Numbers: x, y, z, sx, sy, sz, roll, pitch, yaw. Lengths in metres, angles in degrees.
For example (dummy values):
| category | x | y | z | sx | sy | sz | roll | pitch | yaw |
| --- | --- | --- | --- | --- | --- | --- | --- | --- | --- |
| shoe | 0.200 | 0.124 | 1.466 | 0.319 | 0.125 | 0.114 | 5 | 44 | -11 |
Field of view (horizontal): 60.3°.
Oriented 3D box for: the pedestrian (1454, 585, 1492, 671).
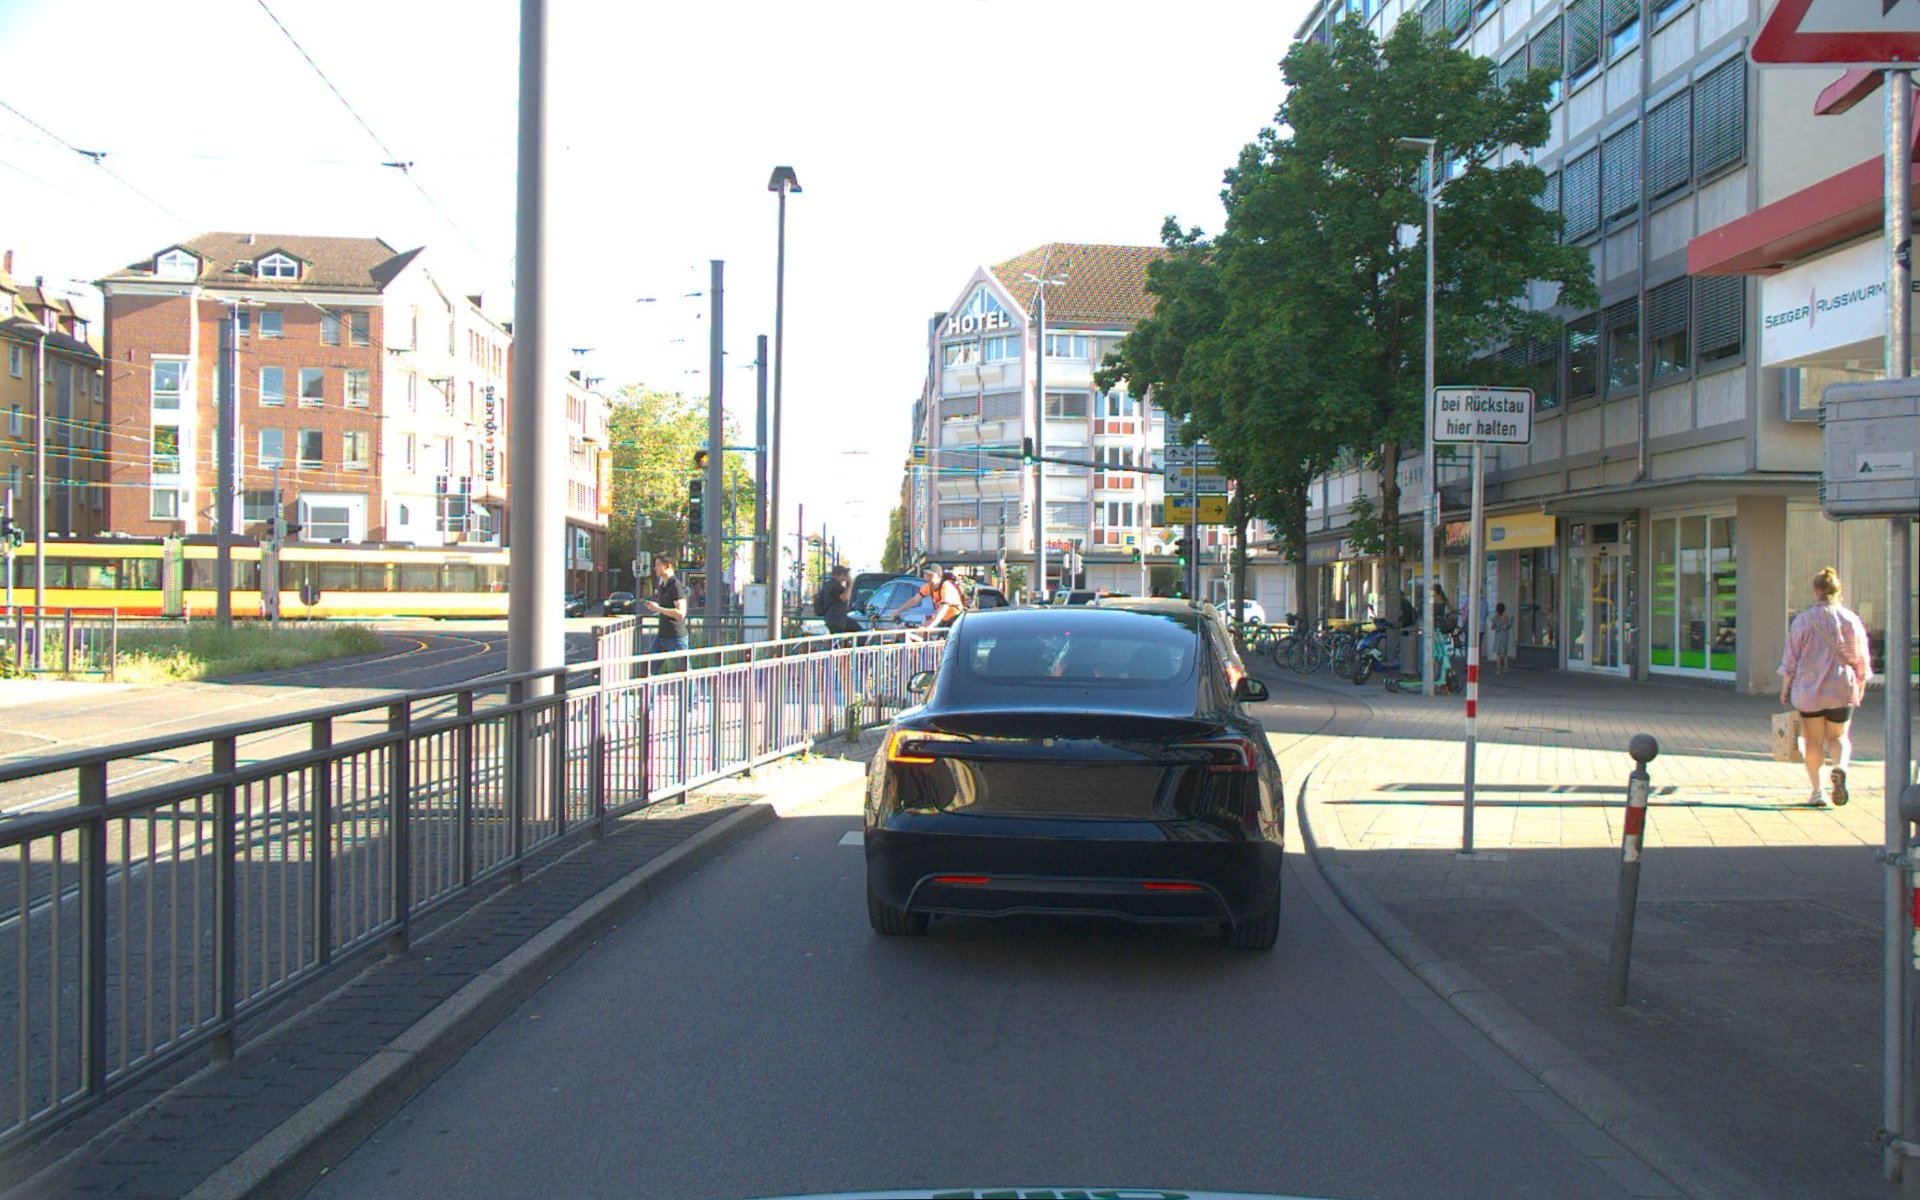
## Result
| category | x | y | z | sx | sy | sz | roll | pitch | yaw |
| --- | --- | --- | --- | --- | --- | --- | --- | --- | --- |
| pedestrian | 10.069 | 0.554 | 32.469 | 0.583 | 1.670 | 0.466 | 0 | 0 | -1 |

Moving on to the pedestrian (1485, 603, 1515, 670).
| category | x | y | z | sx | sy | sz | roll | pitch | yaw |
| --- | --- | --- | --- | --- | --- | --- | --- | --- | --- |
| pedestrian | 10.602 | 0.705 | 32.472 | 0.411 | 1.303 | 0.531 | 0 | 0 | -1 |

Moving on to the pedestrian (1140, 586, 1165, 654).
| category | x | y | z | sx | sy | sz | roll | pitch | yaw |
| --- | --- | --- | --- | --- | --- | --- | --- | --- | --- |
| pedestrian | 4.955 | 0.508 | 42.615 | 0.550 | 1.712 | 0.750 | 2 | 0 | 2 |

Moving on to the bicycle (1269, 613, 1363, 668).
| category | x | y | z | sx | sy | sz | roll | pitch | yaw |
| --- | --- | --- | --- | --- | --- | --- | --- | --- | --- |
| bicycle | 7.645 | 0.868 | 35.559 | 1.885 | 1.116 | 0.554 | 1 | 0 | -2 |

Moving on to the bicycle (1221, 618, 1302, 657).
| category | x | y | z | sx | sy | sz | roll | pitch | yaw |
| --- | --- | --- | --- | --- | --- | --- | --- | --- | --- |
| bicycle | 7.408 | 0.927 | 40.681 | 1.885 | 0.903 | 0.526 | 1 | 0 | -2 |

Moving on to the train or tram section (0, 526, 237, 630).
| category | x | y | z | sx | sy | sz | roll | pitch | yaw |
| --- | --- | --- | --- | --- | --- | --- | --- | --- | --- |
| train or tram section | -36.688 | -0.968 | 66.115 | 13.933 | 3.780 | 2.668 | 2 | 0 | -20 |

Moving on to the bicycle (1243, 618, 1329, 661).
| category | x | y | z | sx | sy | sz | roll | pitch | yaw |
| --- | --- | --- | --- | --- | --- | --- | --- | --- | --- |
| bicycle | 7.590 | 0.913 | 38.549 | 1.885 | 0.967 | 0.526 | 1 | 0 | -2 |

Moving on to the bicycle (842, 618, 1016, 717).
| category | x | y | z | sx | sy | sz | roll | pitch | yaw |
| --- | --- | --- | --- | --- | --- | --- | --- | --- | --- |
| bicycle | -0.377 | 0.809 | 19.916 | 1.941 | 1.091 | 0.771 | 3 | 0 | -16 |

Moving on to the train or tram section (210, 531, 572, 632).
| category | x | y | z | sx | sy | sz | roll | pitch | yaw |
| --- | --- | --- | --- | --- | --- | --- | --- | --- | --- |
| train or tram section | -24.784 | -0.705 | 73.328 | 15.244 | 3.783 | 2.606 | 3 | -1 | -41 |

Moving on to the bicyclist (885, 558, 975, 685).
| category | x | y | z | sx | sy | sz | roll | pitch | yaw |
| --- | --- | --- | --- | --- | --- | --- | --- | --- | --- |
| bicyclist | -0.365 | 0.258 | 19.825 | 0.893 | 1.463 | 0.626 | 3 | -1 | -16 |

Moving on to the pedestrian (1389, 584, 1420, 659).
| category | x | y | z | sx | sy | sz | roll | pitch | yaw |
| --- | --- | --- | --- | --- | --- | --- | --- | --- | --- |
| pedestrian | 10.024 | 0.481 | 37.345 | 0.520 | 1.670 | 0.606 | 0 | 0 | -1 |

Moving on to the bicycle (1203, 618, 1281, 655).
| category | x | y | z | sx | sy | sz | roll | pitch | yaw |
| --- | --- | --- | --- | --- | --- | --- | --- | --- | --- |
| bicycle | 7.272 | 0.946 | 42.684 | 1.885 | 0.906 | 0.526 | 1 | 0 | -2 |

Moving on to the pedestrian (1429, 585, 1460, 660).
| category | x | y | z | sx | sy | sz | roll | pitch | yaw |
| --- | --- | --- | --- | --- | --- | --- | --- | --- | --- |
| pedestrian | 11.003 | 0.506 | 37.568 | 0.520 | 1.670 | 0.593 | 0 | 0 | -1 |

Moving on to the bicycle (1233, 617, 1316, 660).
| category | x | y | z | sx | sy | sz | roll | pitch | yaw |
| --- | --- | --- | --- | --- | --- | --- | --- | --- | --- |
| bicycle | 7.514 | 0.914 | 39.562 | 1.885 | 0.967 | 0.526 | 1 | 0 | -2 |

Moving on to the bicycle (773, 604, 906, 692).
| category | x | y | z | sx | sy | sz | roll | pitch | yaw |
| --- | --- | --- | --- | --- | --- | --- | --- | --- | --- |
| bicycle | -1.632 | 0.644 | 22.339 | 1.697 | 1.107 | 0.676 | 3 | -1 | -11 |

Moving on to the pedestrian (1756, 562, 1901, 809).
| category | x | y | z | sx | sy | sz | roll | pitch | yaw |
| --- | --- | --- | --- | --- | --- | --- | --- | --- | --- |
| pedestrian | 6.347 | 0.604 | 12.125 | 0.800 | 1.712 | 0.714 | 2 | -1 | 20 |

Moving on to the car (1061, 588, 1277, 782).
| category | x | y | z | sx | sy | sz | roll | pitch | yaw |
| --- | --- | --- | --- | --- | --- | --- | --- | --- | --- |
| car | 1.887 | 0.643 | 14.883 | 1.618 | 1.443 | 4.003 | 2 | 1 | 8 |

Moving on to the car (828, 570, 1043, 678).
| category | x | y | z | sx | sy | sz | roll | pitch | yaw |
| --- | --- | --- | --- | --- | --- | --- | --- | --- | --- |
| car | -0.488 | 0.340 | 26.626 | 1.762 | 1.545 | 4.181 | 3 | 0 | -27 |

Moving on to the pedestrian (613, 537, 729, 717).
| category | x | y | z | sx | sy | sz | roll | pitch | yaw |
| --- | --- | --- | --- | --- | --- | --- | --- | --- | --- |
| pedestrian | -2.931 | 0.278 | 16.773 | 0.993 | 1.772 | 0.524 | 3 | -1 | -28 |

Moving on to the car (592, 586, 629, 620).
| category | x | y | z | sx | sy | sz | roll | pitch | yaw |
| --- | --- | --- | --- | --- | --- | --- | --- | --- | --- |
| car | -22.335 | 0.193 | 105.815 | 1.956 | 2.049 | 3.993 | 3 | 0 | -8 |

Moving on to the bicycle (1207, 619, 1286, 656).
| category | x | y | z | sx | sy | sz | roll | pitch | yaw |
| --- | --- | --- | --- | --- | --- | --- | --- | --- | --- |
| bicycle | 7.220 | 0.940 | 41.746 | 1.885 | 0.906 | 0.526 | 1 | 0 | -2 |

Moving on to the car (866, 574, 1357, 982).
| category | x | y | z | sx | sy | sz | roll | pitch | yaw |
| --- | --- | --- | --- | --- | --- | --- | --- | --- | --- |
| car | 0.483 | 0.690 | 8.197 | 1.812 | 1.510 | 3.784 | 2 | 0 | -4 |

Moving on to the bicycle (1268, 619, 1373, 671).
| category | x | y | z | sx | sy | sz | roll | pitch | yaw |
| --- | --- | --- | --- | --- | --- | --- | --- | --- | --- |
| bicycle | 7.327 | 0.907 | 33.643 | 2.010 | 0.999 | 0.482 | 1 | 0 | -2 |

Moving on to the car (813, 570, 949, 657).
| category | x | y | z | sx | sy | sz | roll | pitch | yaw |
| --- | --- | --- | --- | --- | --- | --- | --- | --- | --- |
| car | -1.650 | 0.248 | 32.913 | 1.794 | 1.545 | 4.201 | 3 | 0 | -15 |

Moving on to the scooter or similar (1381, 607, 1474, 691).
| category | x | y | z | sx | sy | sz | roll | pitch | yaw |
| --- | --- | --- | --- | --- | --- | --- | --- | --- | --- |
| scooter or similar | 7.646 | 0.796 | 27.049 | 1.393 | 1.340 | 0.690 | 1 | -2 | -28 |

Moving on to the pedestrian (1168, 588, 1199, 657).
| category | x | y | z | sx | sy | sz | roll | pitch | yaw |
| --- | --- | --- | --- | --- | --- | --- | --- | --- | --- |
| pedestrian | 5.406 | 0.540 | 39.988 | 0.616 | 1.642 | 0.643 | 2 | 0 | 1 |

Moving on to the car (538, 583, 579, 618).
| category | x | y | z | sx | sy | sz | roll | pitch | yaw |
| --- | --- | --- | --- | --- | --- | --- | --- | --- | --- |
| car | -24.886 | 0.013 | 102.707 | 1.956 | 2.049 | 3.993 | 3 | 0 | -8 |

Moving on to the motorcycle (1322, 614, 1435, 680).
| category | x | y | z | sx | sy | sz | roll | pitch | yaw |
| --- | --- | --- | --- | --- | --- | --- | --- | --- | --- |
| motorcycle | 7.936 | 0.883 | 31.396 | 1.951 | 1.147 | 0.596 | 3 | -1 | -3 |

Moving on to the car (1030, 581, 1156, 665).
| category | x | y | z | sx | sy | sz | roll | pitch | yaw |
| --- | --- | --- | --- | --- | --- | --- | --- | --- | --- |
| car | 2.642 | 0.444 | 33.653 | 1.790 | 1.545 | 3.643 | 3 | 0 | -8 |

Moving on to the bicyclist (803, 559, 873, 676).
| category | x | y | z | sx | sy | sz | roll | pitch | yaw |
| --- | --- | --- | --- | --- | --- | --- | --- | --- | --- |
| bicyclist | -1.652 | 0.235 | 22.308 | 0.821 | 1.526 | 0.558 | 2 | -1 | -11 |

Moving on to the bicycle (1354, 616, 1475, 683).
| category | x | y | z | sx | sy | sz | roll | pitch | yaw |
| --- | --- | --- | --- | --- | --- | --- | --- | --- | --- |
| bicycle | 8.078 | 0.873 | 29.400 | 2.010 | 1.141 | 0.482 | 1 | 0 | -2 |
